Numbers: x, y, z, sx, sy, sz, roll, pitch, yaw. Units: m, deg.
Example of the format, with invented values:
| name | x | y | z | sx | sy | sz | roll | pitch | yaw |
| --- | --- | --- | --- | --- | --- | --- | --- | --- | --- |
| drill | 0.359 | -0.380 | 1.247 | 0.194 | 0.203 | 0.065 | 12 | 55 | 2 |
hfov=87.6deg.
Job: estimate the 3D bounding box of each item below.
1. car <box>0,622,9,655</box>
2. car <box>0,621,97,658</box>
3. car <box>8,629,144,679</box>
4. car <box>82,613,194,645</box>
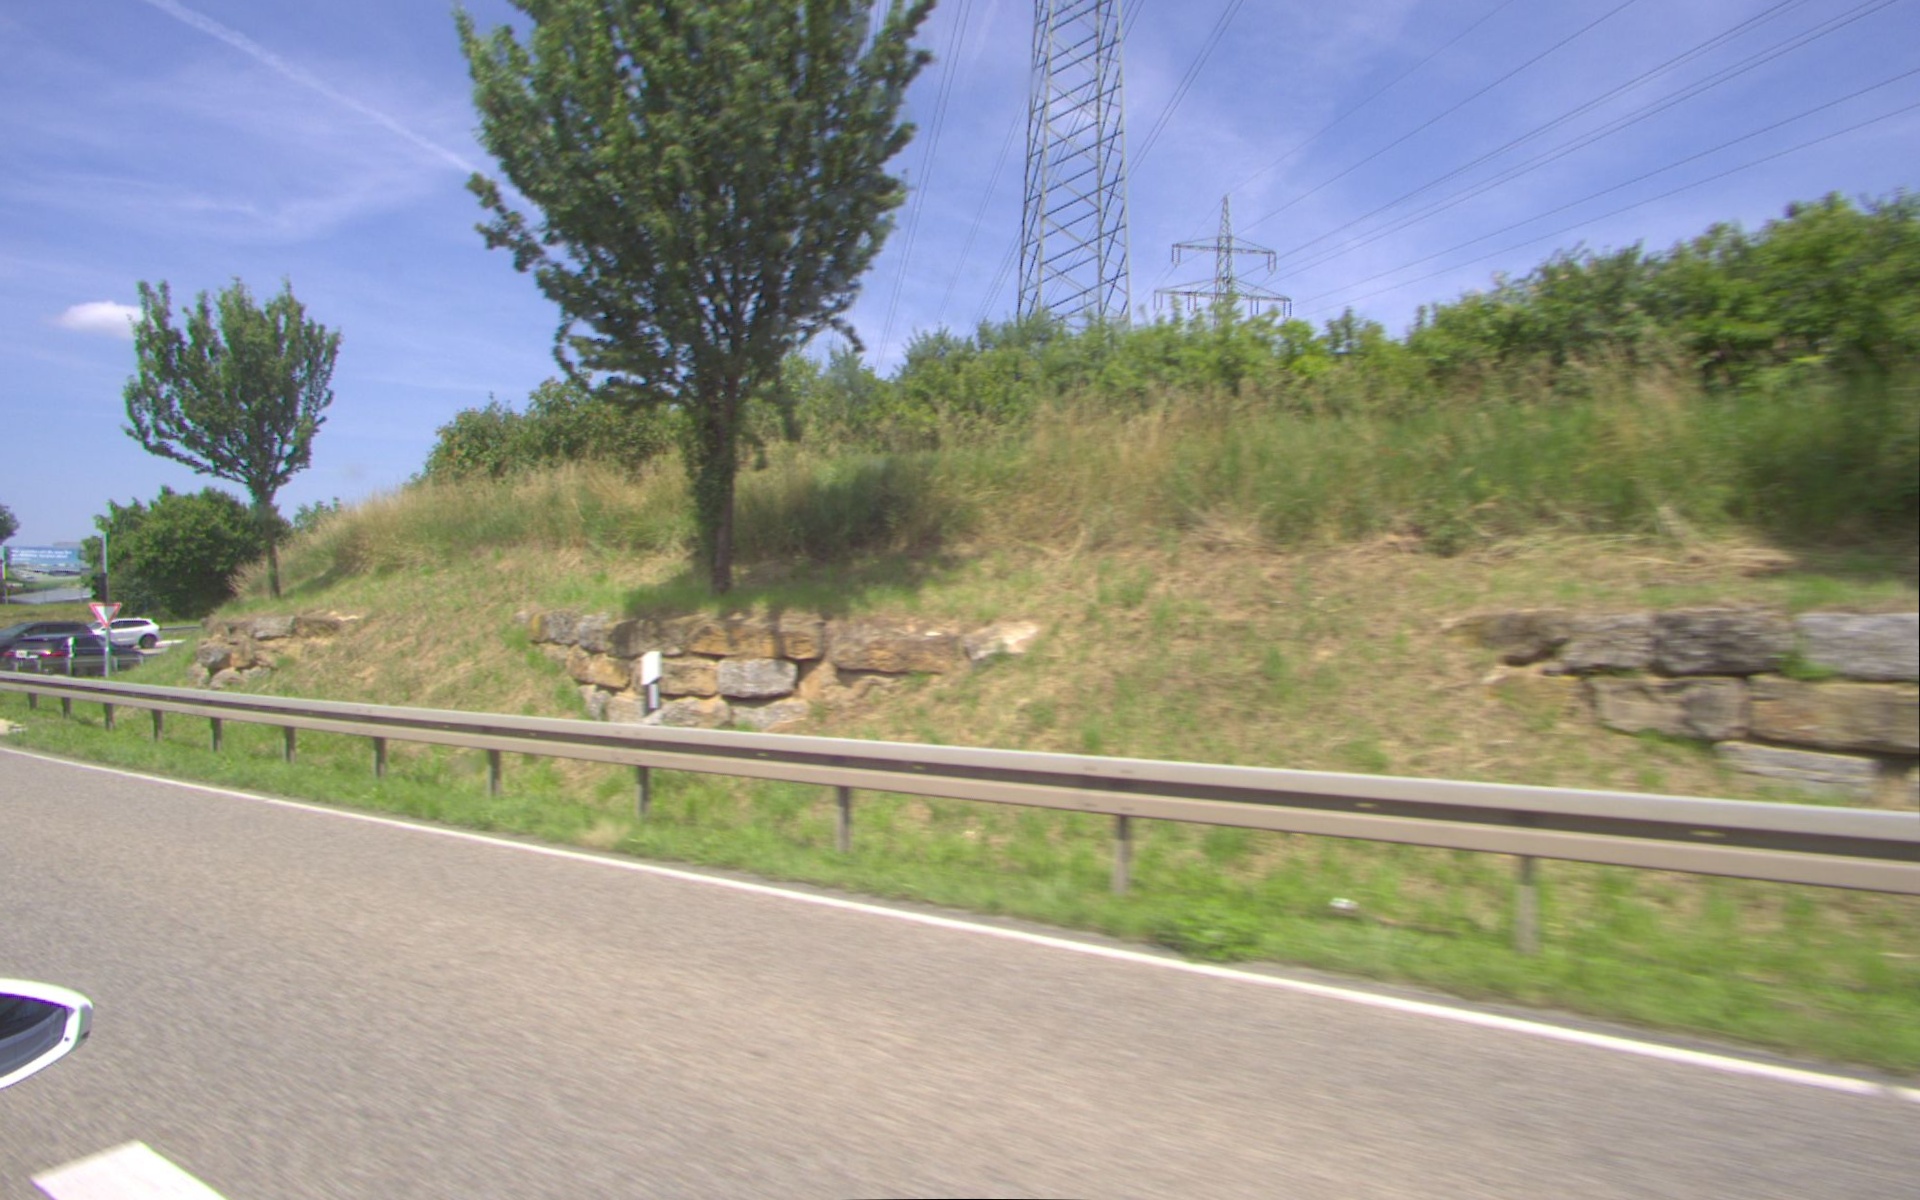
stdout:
| name | x | y | z | sx | sy | sz | roll | pitch | yaw |
| --- | --- | --- | --- | --- | --- | --- | --- | --- | --- |
| car | -47.032 | 1.832 | 46.359 | 1.688 | 1.530 | 3.988 | -1 | -1 | 24 |
| car | -41.180 | 1.734 | 44.253 | 1.687 | 1.530 | 4.363 | -1 | -1 | 21 |
| car | -29.416 | 1.773 | 33.505 | 1.720 | 1.552 | 4.293 | 0 | -2 | -16 |
| car | -44.345 | 1.537 | 54.154 | 1.750 | 1.613 | 4.360 | -1 | -1 | 24 |
